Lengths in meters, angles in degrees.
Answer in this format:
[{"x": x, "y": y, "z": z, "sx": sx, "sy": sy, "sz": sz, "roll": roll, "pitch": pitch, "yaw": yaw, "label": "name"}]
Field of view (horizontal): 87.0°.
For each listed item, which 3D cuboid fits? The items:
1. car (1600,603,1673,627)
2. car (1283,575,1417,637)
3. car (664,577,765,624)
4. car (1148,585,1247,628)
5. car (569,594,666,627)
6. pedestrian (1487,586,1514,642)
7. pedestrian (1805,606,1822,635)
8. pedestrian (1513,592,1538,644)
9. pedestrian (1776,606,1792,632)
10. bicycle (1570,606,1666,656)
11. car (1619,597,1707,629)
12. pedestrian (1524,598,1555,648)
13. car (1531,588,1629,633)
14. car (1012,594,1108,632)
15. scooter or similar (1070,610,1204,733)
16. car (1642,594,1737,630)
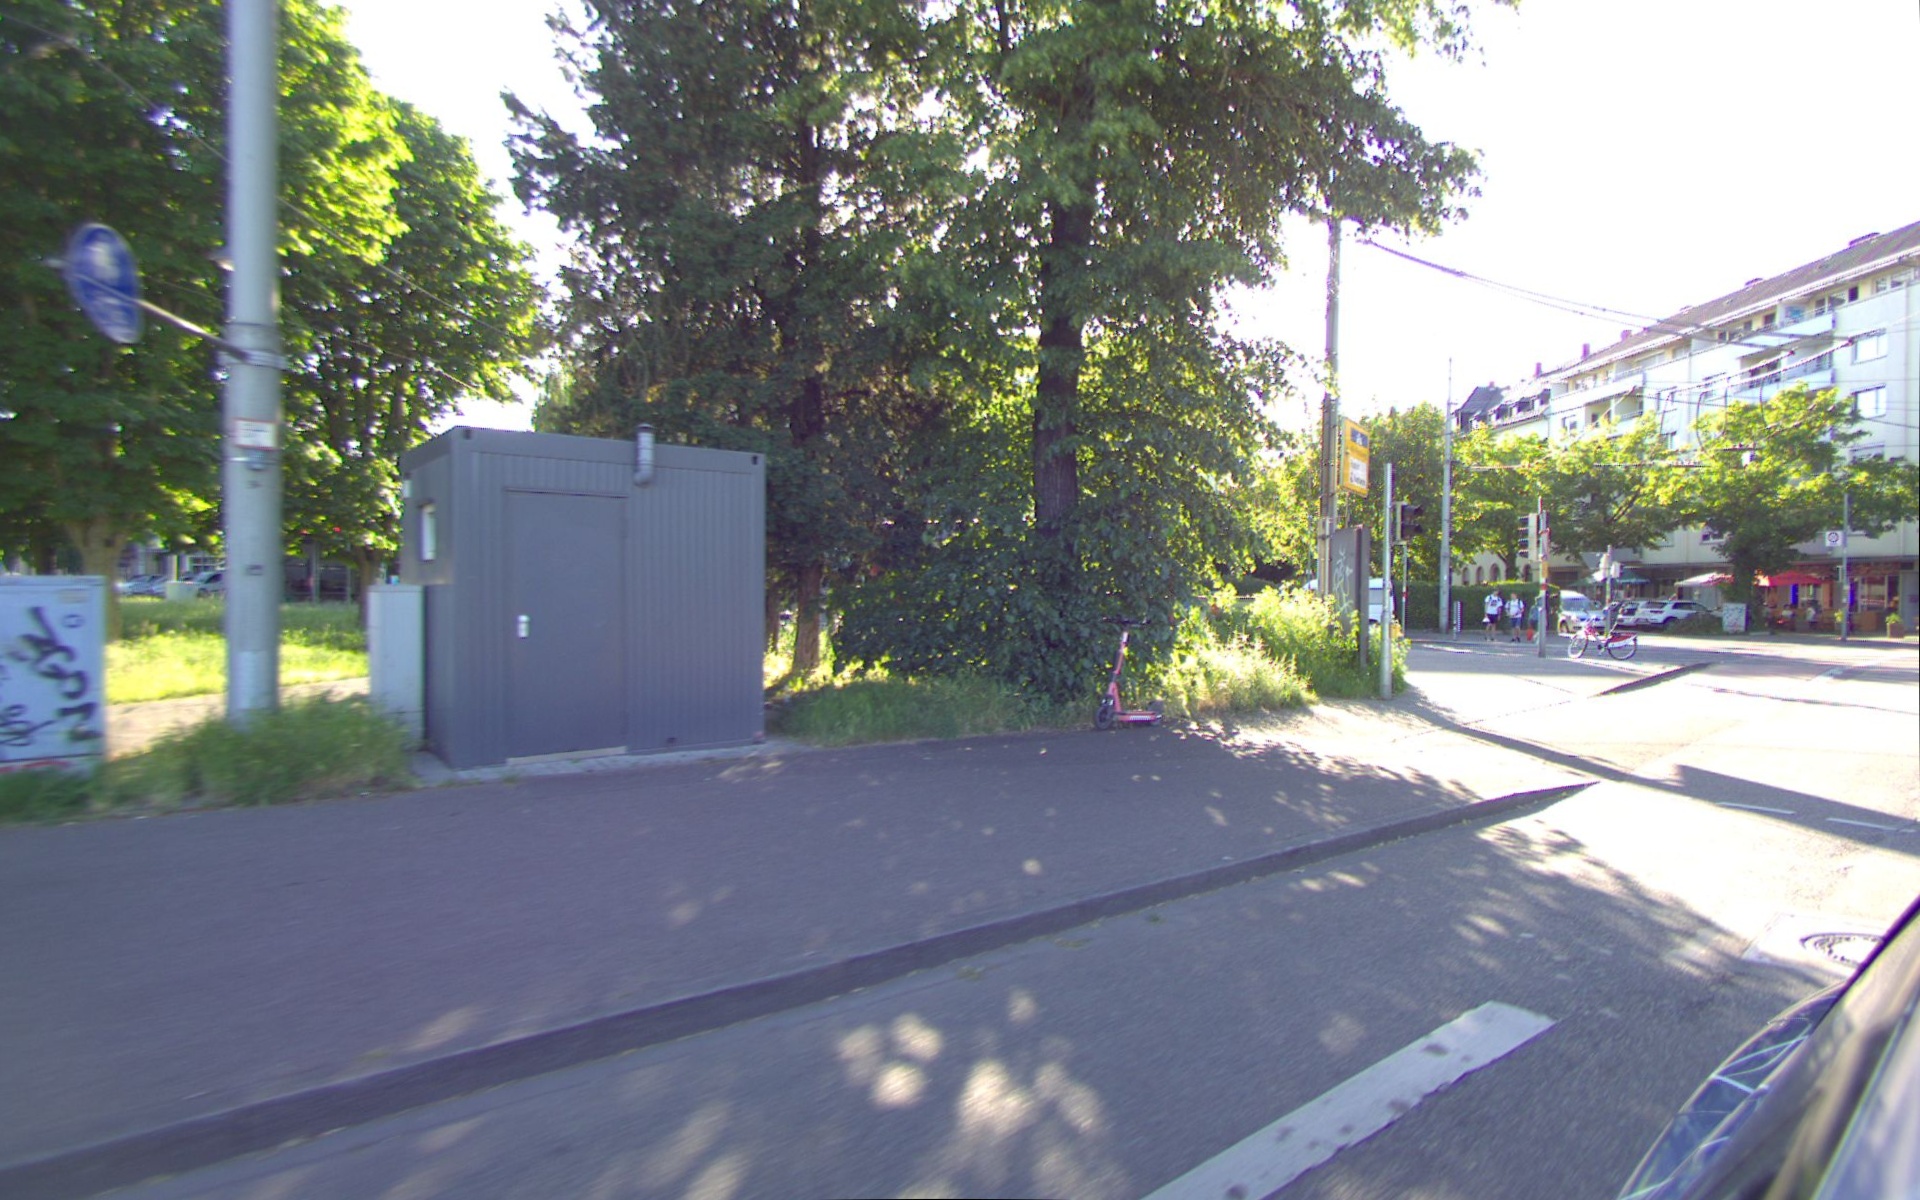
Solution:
[{"x": 34.679, "y": 0.777, "z": 51.895, "sx": 2.749, "sy": 1.096, "sz": 1.324, "roll": -3, "pitch": 0, "yaw": 7, "label": "car"}, {"x": 14.611, "y": 0.226, "z": 38.195, "sx": 4.492, "sy": 2.204, "sz": 1.942, "roll": -1, "pitch": 0, "yaw": 16, "label": "car"}, {"x": -11.753, "y": 0.013, "z": 48.434, "sx": 4.272, "sy": 1.989, "sz": 1.900, "roll": -3, "pitch": 0, "yaw": 16, "label": "car"}, {"x": 9.529, "y": 0.261, "z": 40.535, "sx": 3.722, "sy": 1.624, "sz": 1.962, "roll": -1, "pitch": 0, "yaw": 16, "label": "car"}, {"x": -16.943, "y": 0.512, "z": 50.103, "sx": 4.316, "sy": 1.446, "sz": 1.683, "roll": -3, "pitch": 0, "yaw": 16, "label": "car"}, {"x": 19.232, "y": 0.501, "z": 36.025, "sx": 0.586, "sy": 1.955, "sz": 0.850, "roll": -3, "pitch": -1, "yaw": 15, "label": "pedestrian"}, {"x": 38.993, "y": 0.934, "z": 46.223, "sx": 0.484, "sy": 1.293, "sz": 0.385, "roll": 1, "pitch": -2, "yaw": -26, "label": "pedestrian"}, {"x": 19.867, "y": 0.624, "z": 35.566, "sx": 0.546, "sy": 1.758, "sz": 0.626, "roll": -3, "pitch": -1, "yaw": 15, "label": "pedestrian"}, {"x": 39.927, "y": 0.920, "z": 49.025, "sx": 0.484, "sy": 1.293, "sz": 0.385, "roll": 1, "pitch": -2, "yaw": -26, "label": "pedestrian"}, {"x": 15.353, "y": 0.715, "z": 23.643, "sx": 1.773, "sy": 1.141, "sz": 0.627, "roll": 0, "pitch": -1, "yaw": 4, "label": "bicycle"}, {"x": 34.742, "y": 0.621, "z": 50.091, "sx": 3.144, "sy": 1.420, "sz": 1.576, "roll": -3, "pitch": 0, "yaw": 7, "label": "car"}, {"x": 19.443, "y": 0.760, "z": 33.949, "sx": 0.662, "sy": 1.612, "sz": 0.725, "roll": -3, "pitch": -1, "yaw": 15, "label": "pedestrian"}, {"x": 27.361, "y": 0.452, "z": 44.845, "sx": 1.823, "sy": 1.829, "sz": 4.216, "roll": -3, "pitch": 0, "yaw": 3, "label": "car"}, {"x": 4.188, "y": 0.530, "z": 42.242, "sx": 3.722, "sy": 1.485, "sz": 1.962, "roll": -1, "pitch": 0, "yaw": 16, "label": "car"}, {"x": 1.966, "y": 0.740, "z": 11.089, "sx": 1.801, "sy": 1.233, "sz": 0.384, "roll": 1, "pitch": 1, "yaw": -42, "label": "scooter or similar"}, {"x": 34.049, "y": 0.567, "z": 47.292, "sx": 3.144, "sy": 1.506, "sz": 1.576, "roll": -3, "pitch": 0, "yaw": 7, "label": "car"}]
